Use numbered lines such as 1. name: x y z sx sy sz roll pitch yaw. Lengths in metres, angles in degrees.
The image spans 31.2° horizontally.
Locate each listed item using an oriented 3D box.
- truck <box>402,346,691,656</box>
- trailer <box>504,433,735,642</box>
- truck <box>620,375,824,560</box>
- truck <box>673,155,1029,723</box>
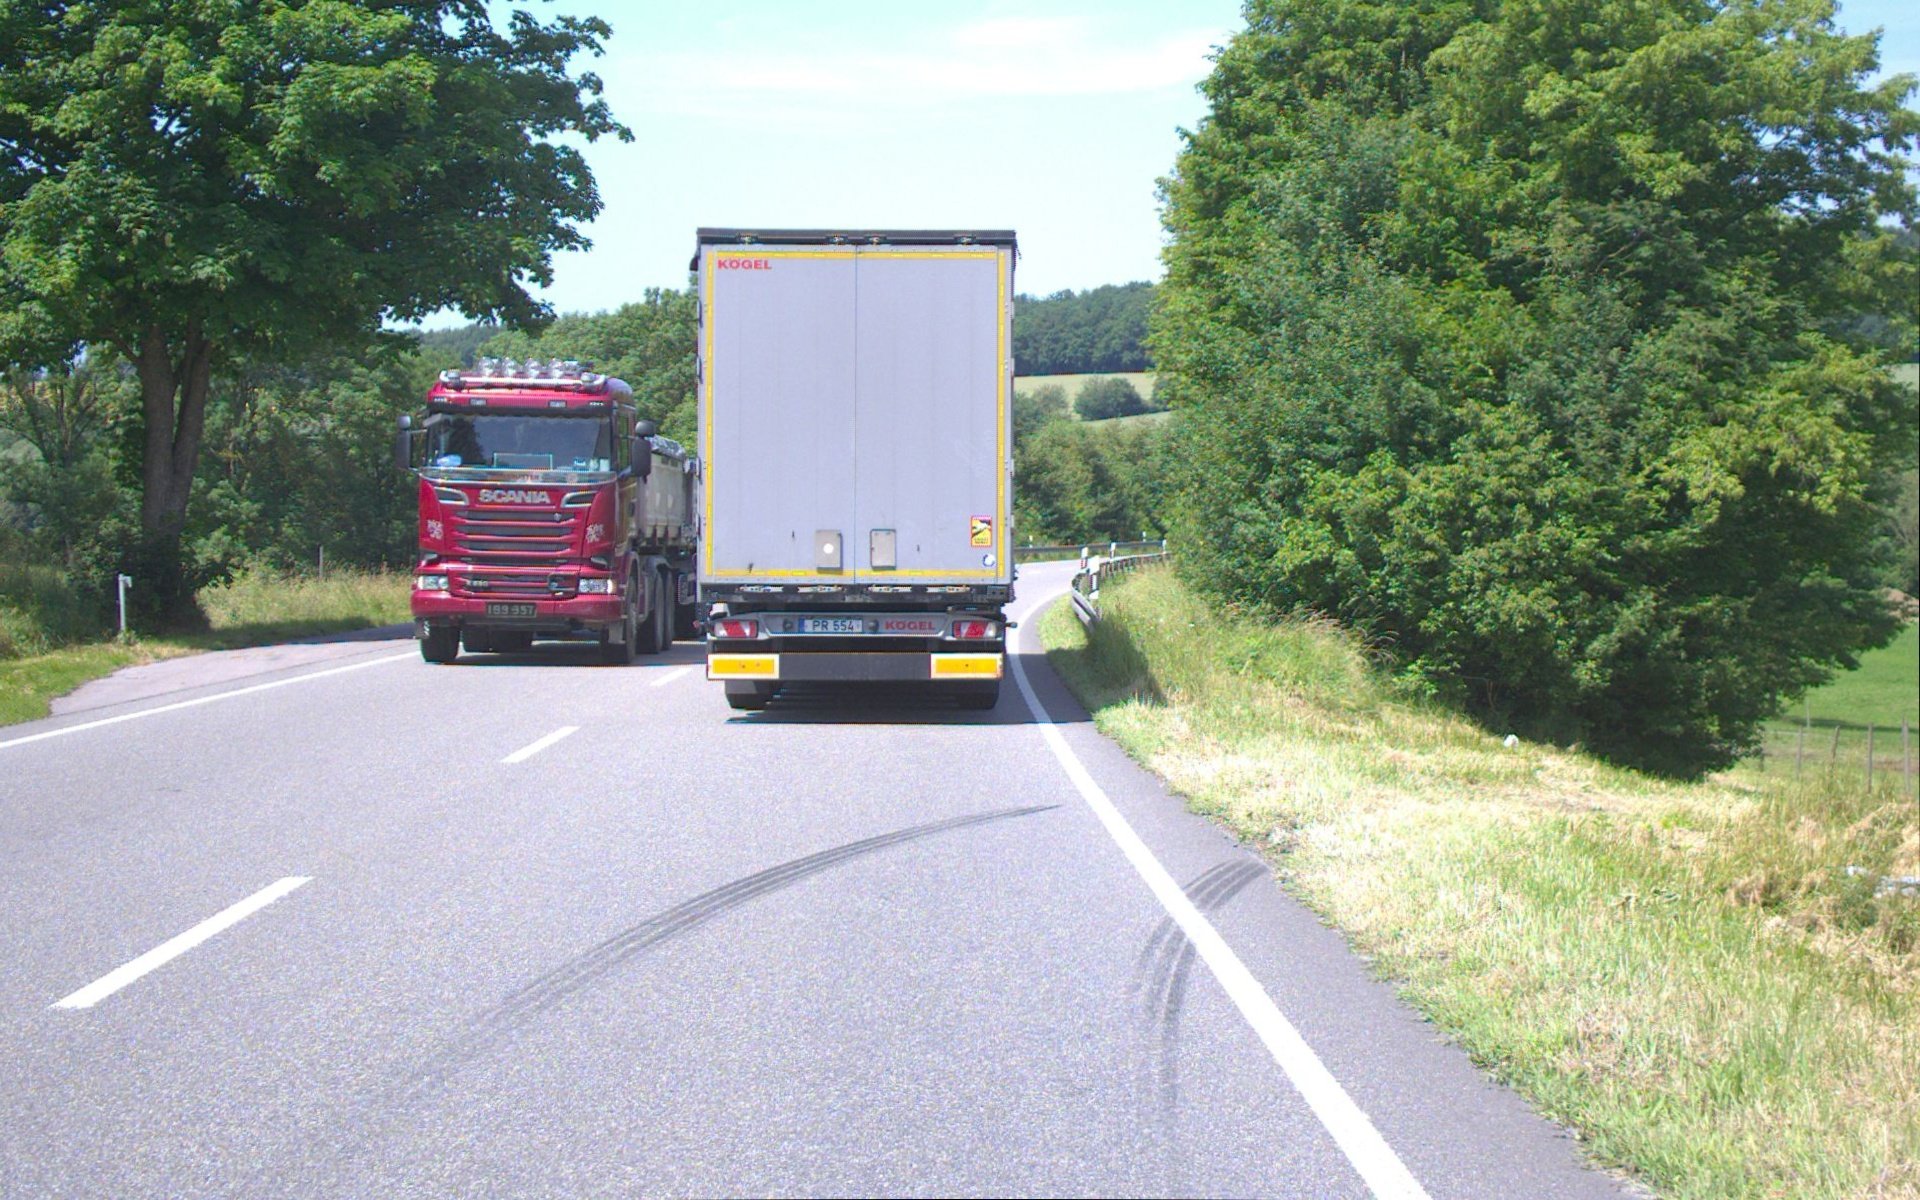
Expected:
1. truck: -5.046 -1.192 43.293 2.531 3.547 7.761 0 1 1
2. trailer: -4.902 -0.907 50.687 2.643 2.863 7.077 0 1 0
3. truck: -5.458 -3.052 82.387 2.560 3.926 16.159 2 1 4
4. truck: -1.034 -1.415 33.309 2.817 4.517 11.769 0 1 -2
